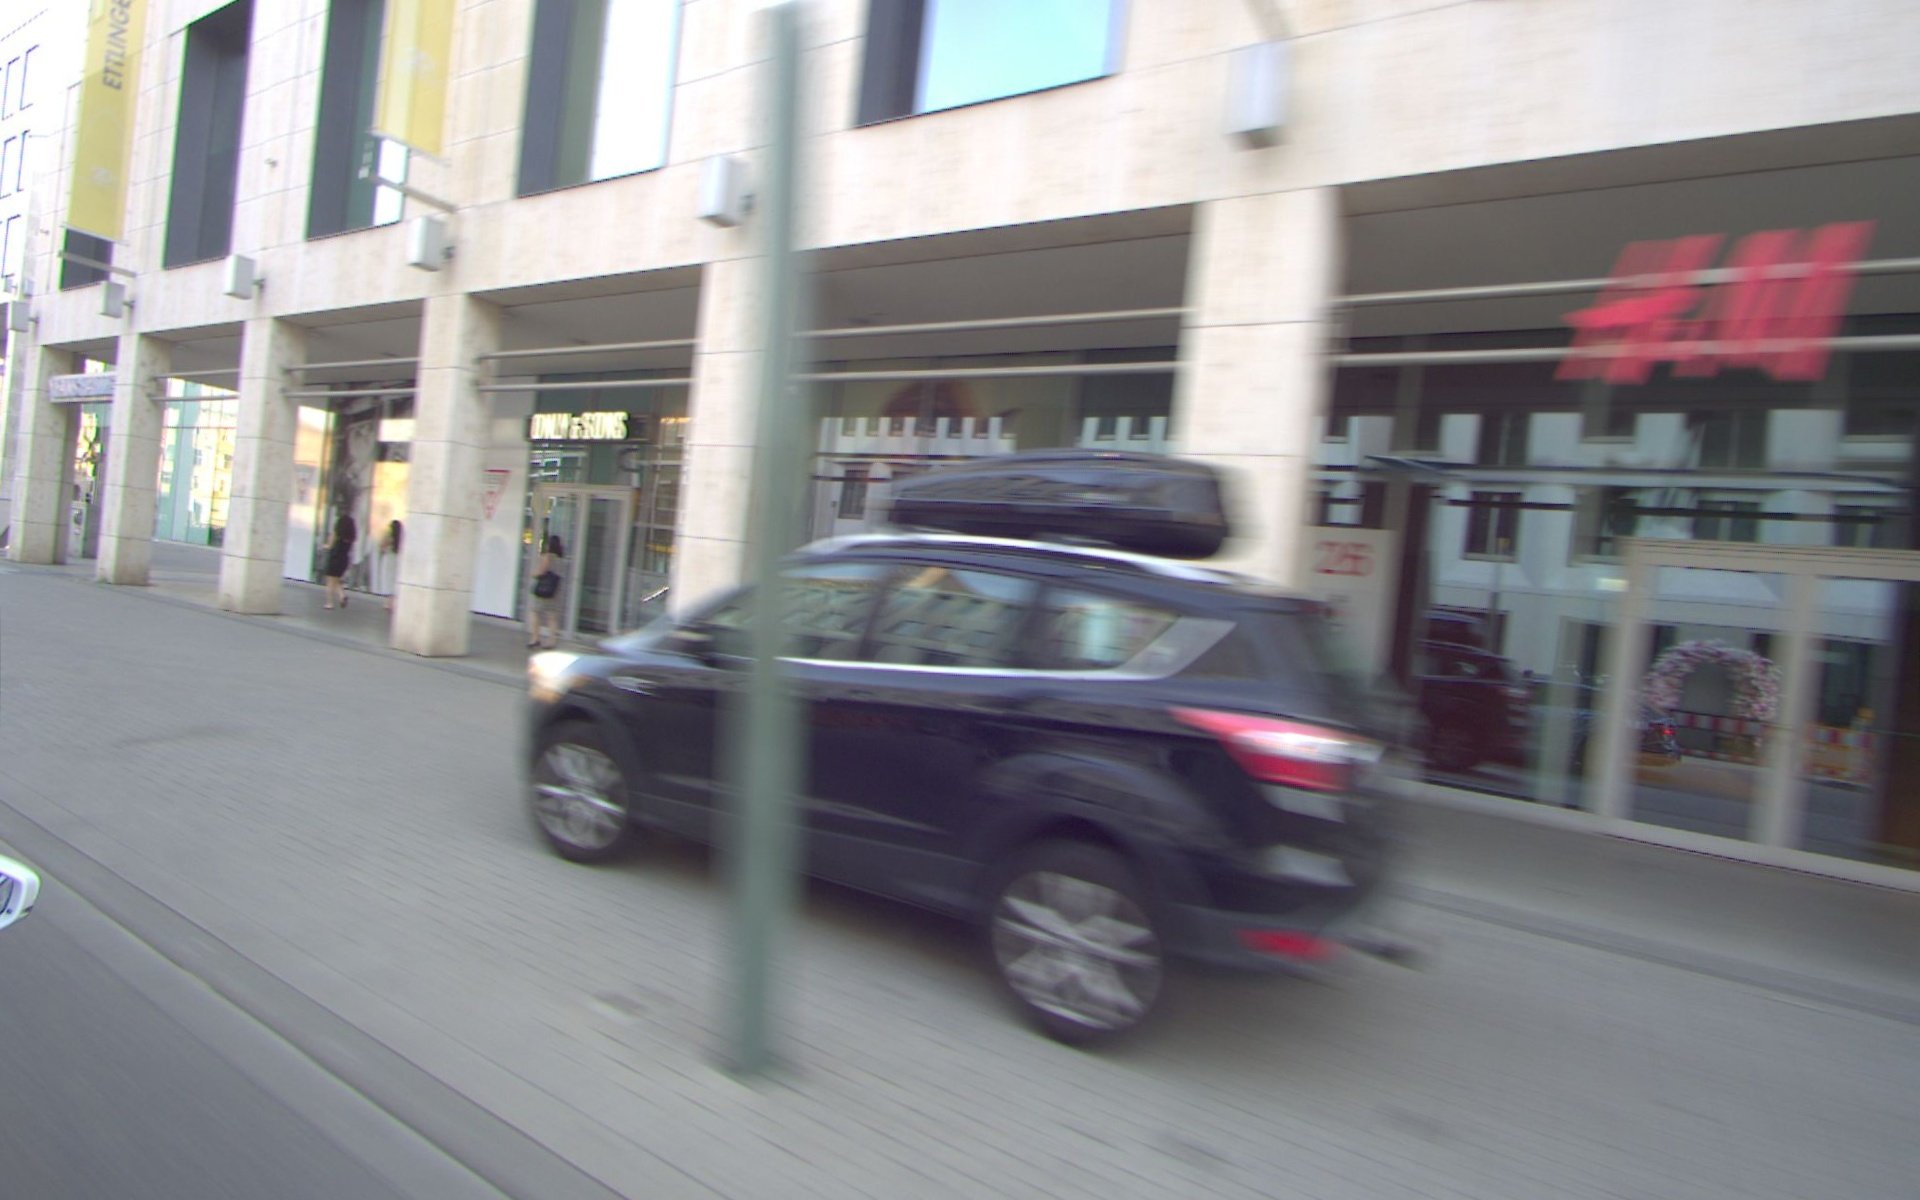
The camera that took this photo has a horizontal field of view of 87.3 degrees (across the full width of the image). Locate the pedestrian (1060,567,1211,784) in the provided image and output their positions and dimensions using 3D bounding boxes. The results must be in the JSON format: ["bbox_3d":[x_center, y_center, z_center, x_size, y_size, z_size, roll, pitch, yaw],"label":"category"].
[{"bbox_3d":[1.540,0.640,8.779,0.862,1.703,0.765,9,2,32],"label":"pedestrian"}]

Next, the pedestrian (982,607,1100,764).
[{"bbox_3d":[0.787,0.814,9.759,0.762,1.363,0.634,9,2,32],"label":"pedestrian"}]

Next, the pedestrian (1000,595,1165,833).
[{"bbox_3d":[0.993,0.882,8.093,0.862,1.703,0.765,9,2,32],"label":"pedestrian"}]

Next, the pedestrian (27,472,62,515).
[{"bbox_3d":[-41.650,-4.838,45.751,0.974,1.800,0.861,7,2,32],"label":"pedestrian"}]

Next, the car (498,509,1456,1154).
[{"bbox_3d":[-0.106,0.577,4.641,3.991,1.660,1.767,6,3,33],"label":"car"}]

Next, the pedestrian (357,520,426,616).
[{"bbox_3d":[-9.911,-0.555,17.544,0.762,1.561,0.634,7,0,32],"label":"pedestrian"}]

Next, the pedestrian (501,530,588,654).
[{"bbox_3d":[-5.749,-0.110,13.928,0.762,1.587,0.634,9,2,32],"label":"pedestrian"}]

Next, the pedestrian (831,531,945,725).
[{"bbox_3d":[-0.682,0.262,9.520,0.684,1.720,0.591,7,1,30],"label":"pedestrian"}]

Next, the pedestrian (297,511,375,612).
[{"bbox_3d":[-10.364,-0.636,16.716,0.717,1.561,0.725,7,0,32],"label":"pedestrian"}]

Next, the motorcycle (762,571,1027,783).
[{"bbox_3d":[-0.592,0.588,8.420,2.102,1.434,0.693,7,1,35],"label":"motorcycle"}]
